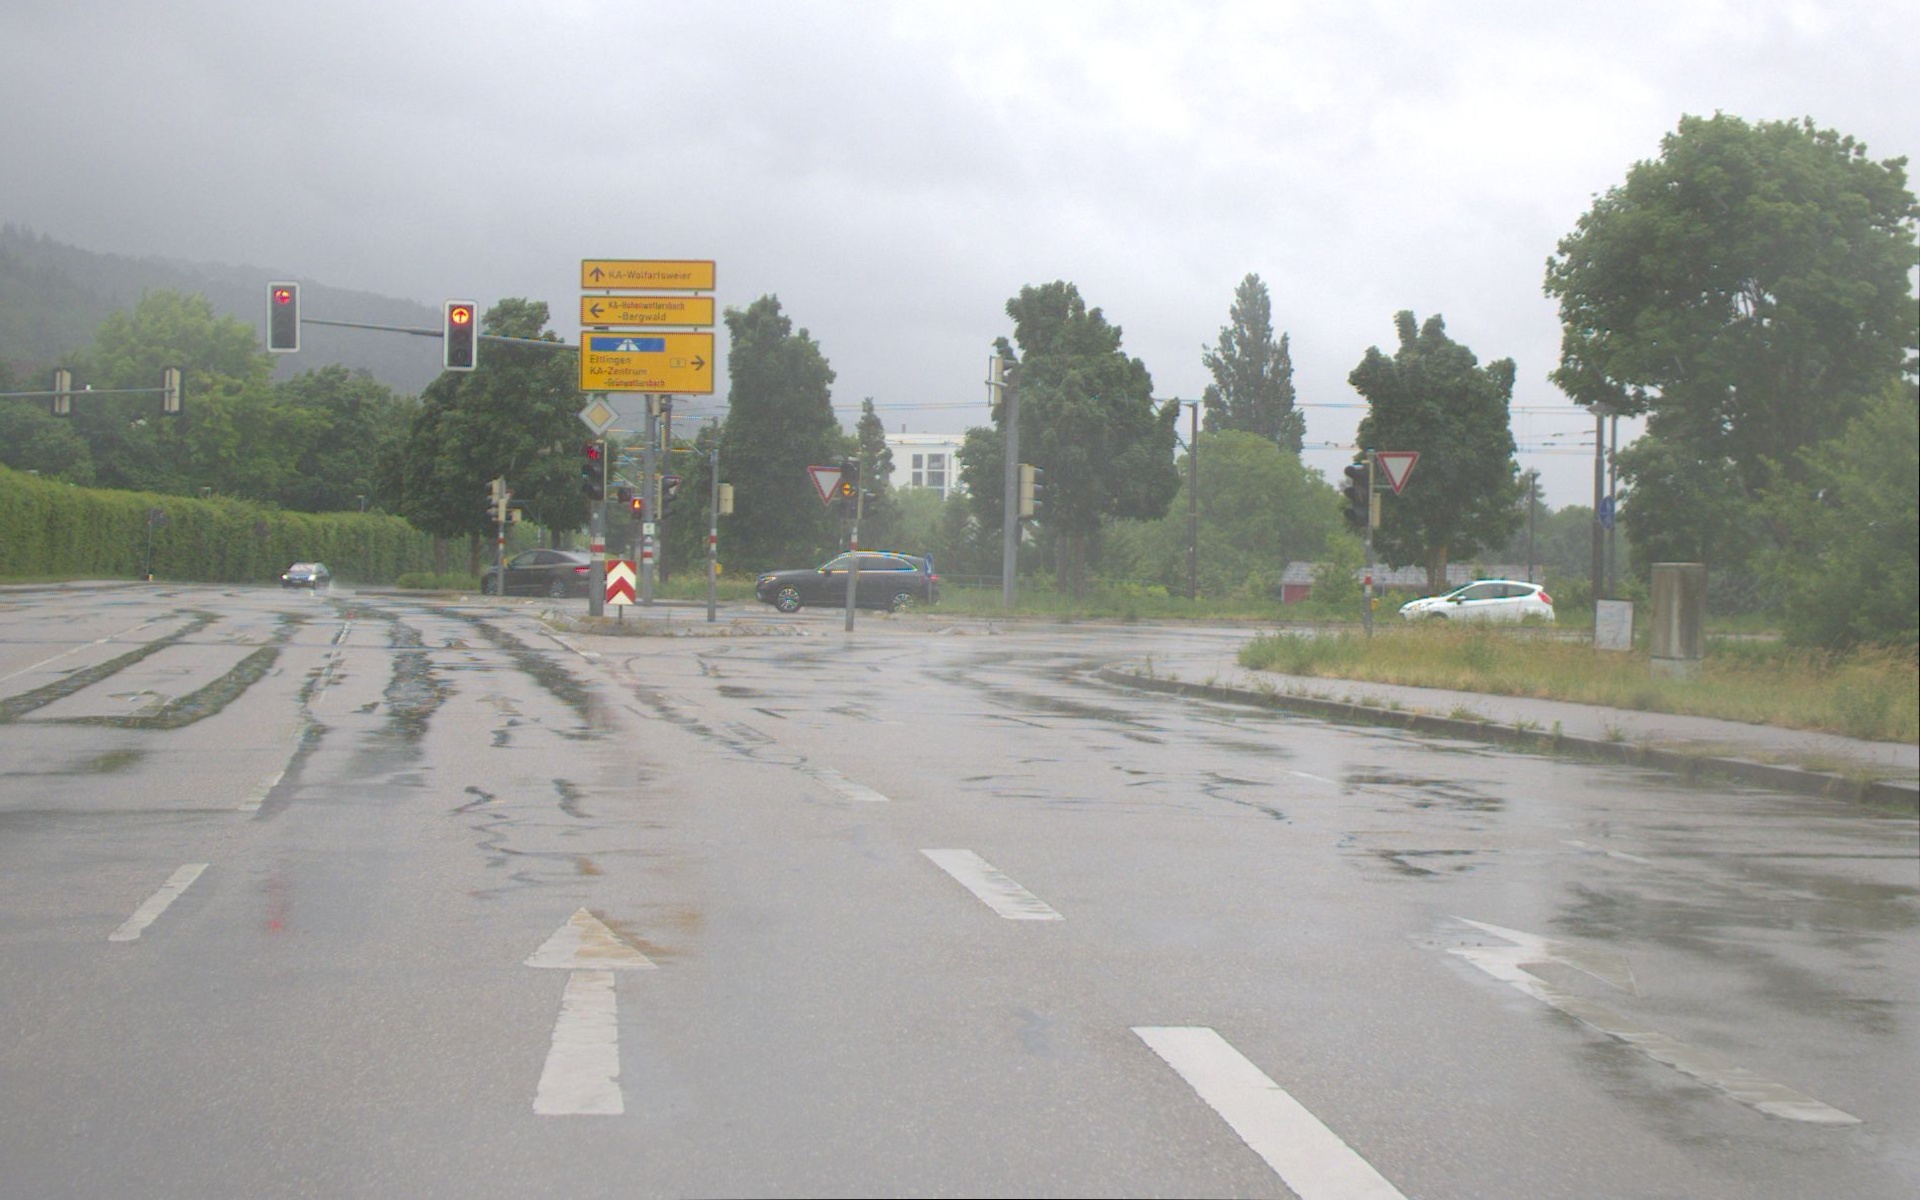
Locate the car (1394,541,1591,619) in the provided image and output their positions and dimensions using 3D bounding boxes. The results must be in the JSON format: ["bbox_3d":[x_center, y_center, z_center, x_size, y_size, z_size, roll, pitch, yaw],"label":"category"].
[{"bbox_3d":[13.637,-0.519,88.240,4.669,1.909,1.915,1,1,-4],"label":"car"}]

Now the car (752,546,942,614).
[{"bbox_3d":[-2.878,-0.508,87.025,4.668,1.633,1.823,1,1,-6],"label":"car"}]

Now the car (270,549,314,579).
[{"bbox_3d":[-36.013,-1.957,185.386,1.878,1.568,4.646,-1,1,-6],"label":"car"}]

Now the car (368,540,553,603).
[{"bbox_3d":[-12.979,-0.763,89.497,4.668,1.548,1.823,-1,1,-6],"label":"car"}]
